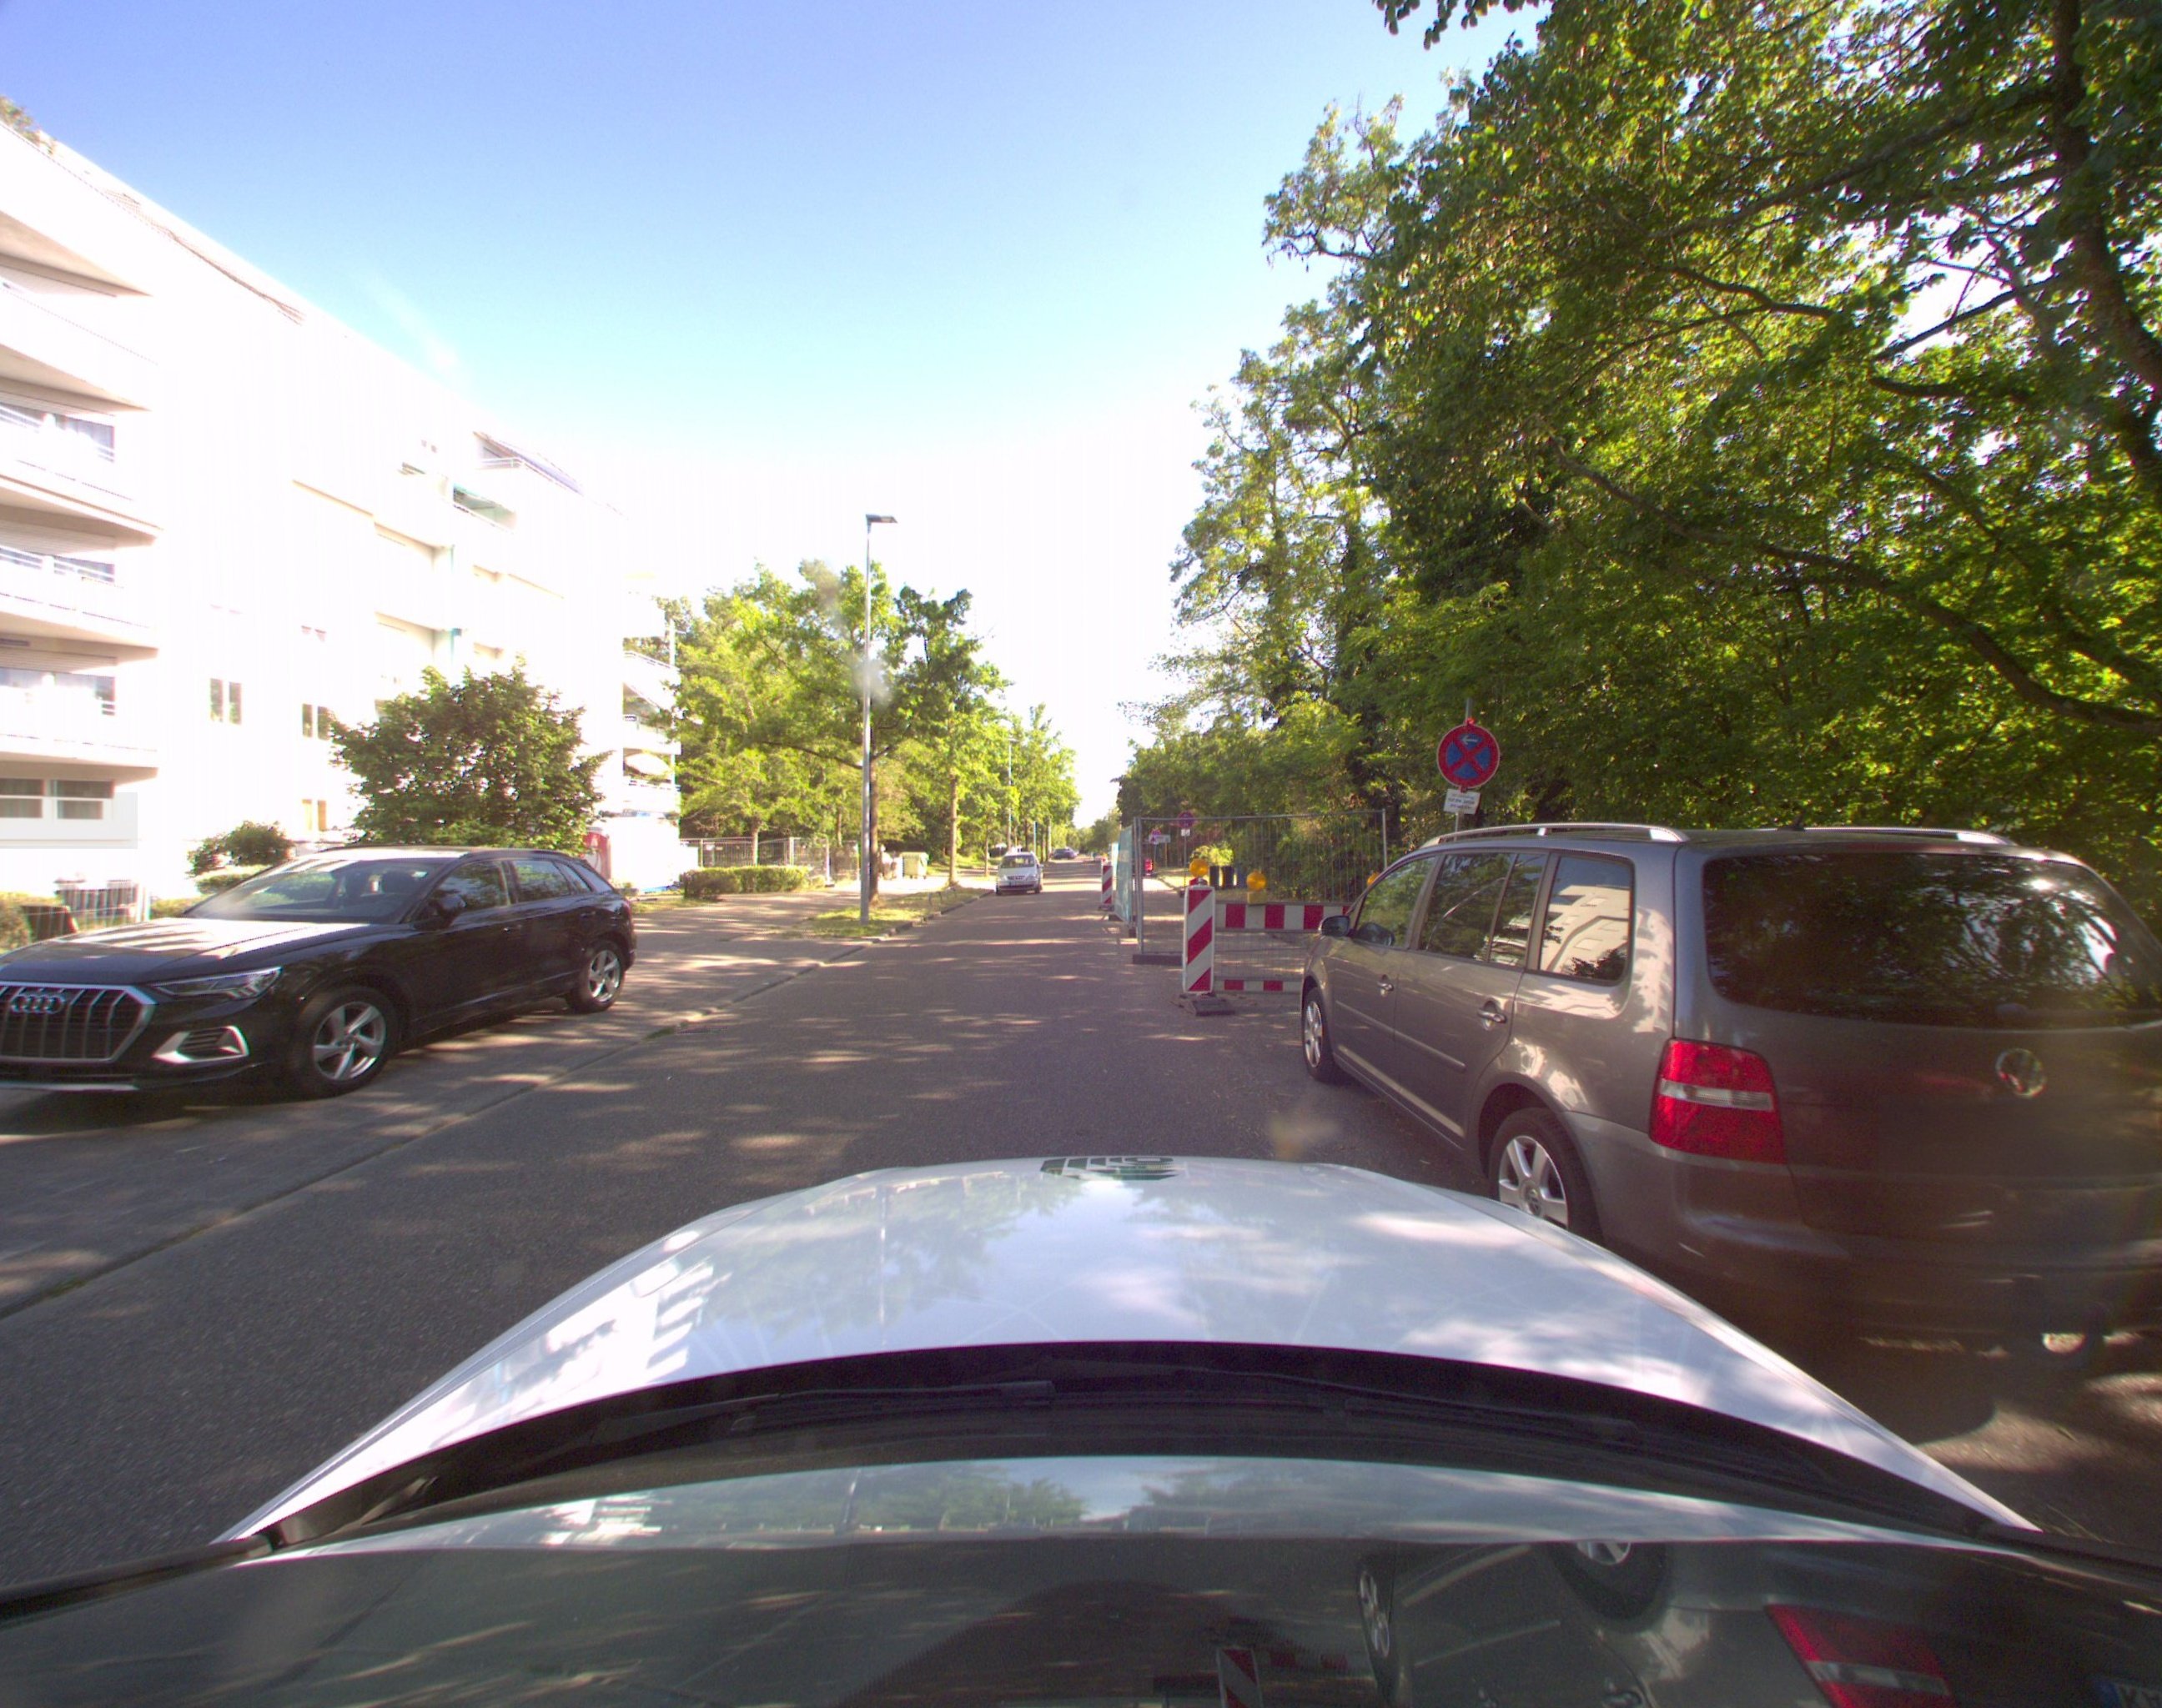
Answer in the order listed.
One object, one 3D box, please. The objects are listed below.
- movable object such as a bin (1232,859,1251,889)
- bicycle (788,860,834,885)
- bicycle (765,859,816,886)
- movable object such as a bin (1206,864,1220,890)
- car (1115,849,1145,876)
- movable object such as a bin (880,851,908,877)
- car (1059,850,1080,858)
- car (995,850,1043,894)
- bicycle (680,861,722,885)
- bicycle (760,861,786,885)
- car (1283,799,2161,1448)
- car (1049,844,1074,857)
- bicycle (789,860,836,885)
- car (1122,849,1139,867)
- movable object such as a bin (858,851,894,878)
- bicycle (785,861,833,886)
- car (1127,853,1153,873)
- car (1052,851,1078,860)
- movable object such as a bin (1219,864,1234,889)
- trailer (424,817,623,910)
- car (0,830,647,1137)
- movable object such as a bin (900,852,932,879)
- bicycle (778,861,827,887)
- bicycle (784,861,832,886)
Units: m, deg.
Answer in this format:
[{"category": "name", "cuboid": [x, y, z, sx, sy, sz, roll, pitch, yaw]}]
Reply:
[{"category": "movable object such as a bin", "cuboid": [5.649, 0.699, 28.652, 0.517, 0.999, 0.608, -2, -1, 1]}, {"category": "bicycle", "cuboid": [-11.520, 0.794, 34.760, 1.839, 1.027, 0.399, 0, -1, -12]}, {"category": "bicycle", "cuboid": [-11.545, 0.735, 32.452, 1.870, 1.027, 0.399, 0, -1, -12]}, {"category": "movable object such as a bin", "cuboid": [4.648, 0.805, 28.704, 0.411, 0.870, 0.484, -2, -1, 1]}, {"category": "car", "cuboid": [3.228, 0.501, 52.800, 1.801, 1.651, 4.427, 1, 0, 5]}, {"category": "movable object such as a bin", "cuboid": [-10.581, 0.559, 46.031, 1.149, 1.435, 1.260, -1, 0, -33]}, {"category": "car", "cuboid": [-2.399, 0.039, 165.396, 4.090, 1.576, 1.960, 1, 0, 3]}, {"category": "car", "cuboid": [-2.399, 0.670, 32.319, 1.655, 1.596, 4.006, -1, 0, -2]}, {"category": "bicycle", "cuboid": [-16.406, 0.818, 35.159, 1.686, 1.027, 0.401, -1, -1, 6]}, {"category": "bicycle", "cuboid": [-13.697, 0.820, 36.216, 0.397, 1.027, 1.702, -1, -1, 3]}, {"category": "car", "cuboid": [2.363, 0.670, 4.114, 1.673, 1.621, 4.137, 0, 0, 0]}, {"category": "car", "cuboid": [-4.162, -0.805, 174.362, 5.189, 2.621, 2.290, 1, 0, -4]}, {"category": "bicycle", "cuboid": [-11.608, 0.801, 35.225, 1.916, 1.027, 0.399, 0, -1, -12]}, {"category": "car", "cuboid": [5.068, 0.361, 83.903, 1.617, 1.773, 3.670, 1, 0, 1]}, {"category": "movable object such as a bin", "cuboid": [-10.846, 0.555, 43.180, 1.257, 1.435, 1.334, -1, 0, 29]}, {"category": "bicycle", "cuboid": [-11.455, 0.806, 34.337, 1.860, 1.027, 0.399, 0, -1, -12]}, {"category": "car", "cuboid": [4.266, 0.627, 59.335, 1.655, 1.375, 4.155, 1, 0, 1]}, {"category": "car", "cuboid": [-2.921, 0.271, 149.092, 4.294, 1.576, 2.050, 1, 0, 7]}, {"category": "movable object such as a bin", "cuboid": [5.137, 0.785, 28.717, 0.411, 0.870, 0.484, -2, -1, 1]}, {"category": "trailer", "cuboid": [-14.211, 0.213, 21.127, 1.855, 2.120, 4.352, 1, 0, 5]}, {"category": "car", "cuboid": [-5.522, 0.679, 6.478, 1.769, 1.621, 4.221, 1, 0, 1]}, {"category": "movable object such as a bin", "cuboid": [-8.986, 0.598, 44.373, 1.259, 1.435, 1.187, -1, 0, 17]}, {"category": "bicycle", "cuboid": [-11.391, 0.817, 33.391, 1.856, 1.027, 0.399, 0, -1, -12]}, {"category": "bicycle", "cuboid": [-11.355, 0.808, 33.864, 1.839, 1.027, 0.399, 0, -1, -12]}]
